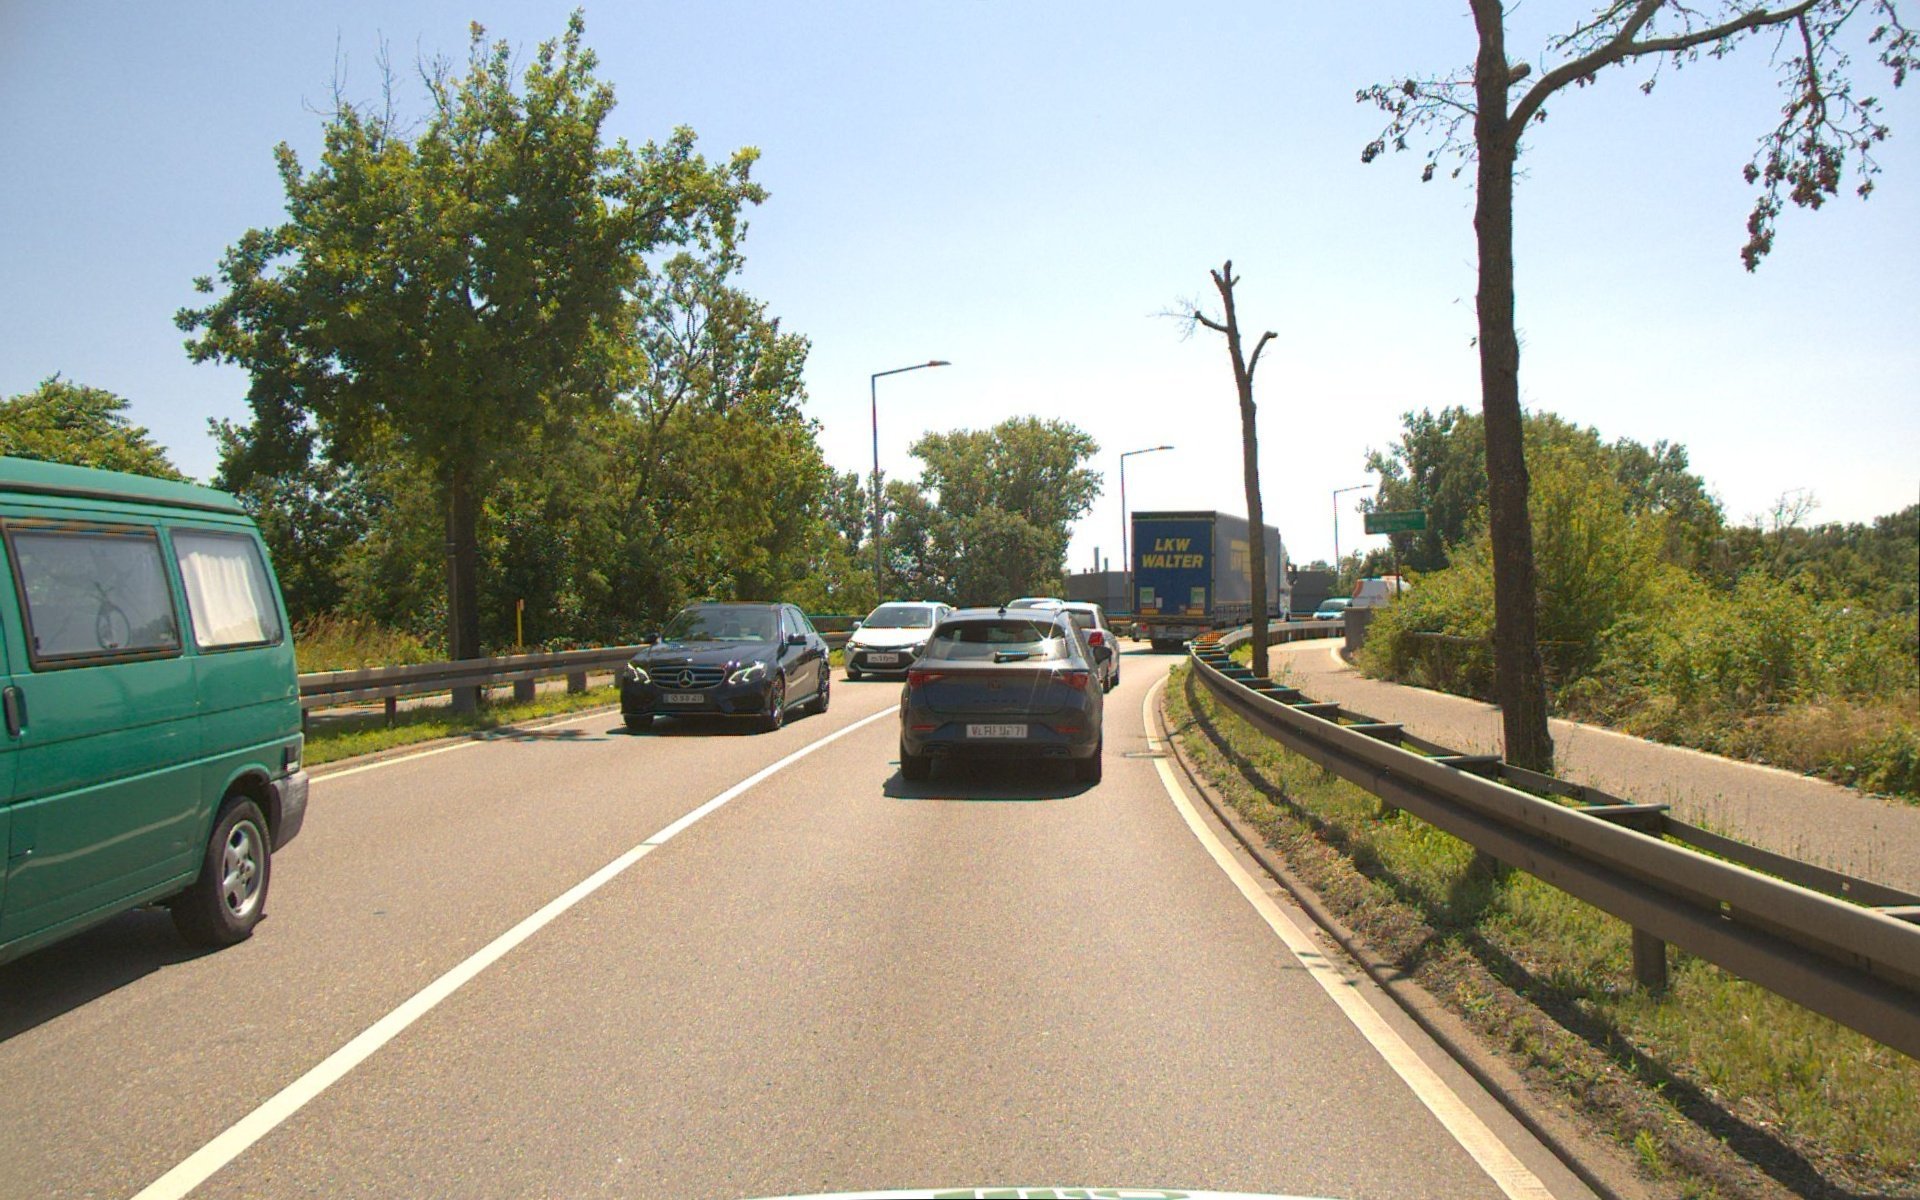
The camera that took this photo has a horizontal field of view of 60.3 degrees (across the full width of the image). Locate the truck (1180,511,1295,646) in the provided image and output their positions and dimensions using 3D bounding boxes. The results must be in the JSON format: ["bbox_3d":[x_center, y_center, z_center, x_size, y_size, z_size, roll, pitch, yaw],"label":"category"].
[{"bbox_3d":[10.358,-0.693,61.077,3.103,4.665,7.399,0,-1,18],"label":"truck"}]

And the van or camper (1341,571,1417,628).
[{"bbox_3d":[21.288,-0.023,83.876,2.162,2.758,5.913,-1,0,30],"label":"van or camper"}]

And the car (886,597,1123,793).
[{"bbox_3d":[0.523,0.738,14.831,1.806,1.525,3.761,0,0,6],"label":"car"}]

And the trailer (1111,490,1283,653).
[{"bbox_3d":[8.071,-0.804,54.310,3.069,4.695,12.951,1,0,19],"label":"trailer"}]

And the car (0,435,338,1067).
[{"bbox_3d":[-3.903,0.474,5.673,1.793,1.972,4.775,0,0,-1],"label":"car"}]

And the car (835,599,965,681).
[{"bbox_3d":[-1.090,0.721,32.298,1.664,1.472,4.463,0,0,10],"label":"car"}]

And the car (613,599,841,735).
[{"bbox_3d":[-2.757,0.736,20.699,1.807,1.493,4.743,0,0,5],"label":"car"}]

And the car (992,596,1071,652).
[{"bbox_3d":[2.157,0.666,48.816,1.708,1.573,4.397,0,0,11],"label":"car"}]

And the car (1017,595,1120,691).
[{"bbox_3d":[1.892,0.687,28.017,1.559,1.487,3.547,1,0,7],"label":"car"}]
